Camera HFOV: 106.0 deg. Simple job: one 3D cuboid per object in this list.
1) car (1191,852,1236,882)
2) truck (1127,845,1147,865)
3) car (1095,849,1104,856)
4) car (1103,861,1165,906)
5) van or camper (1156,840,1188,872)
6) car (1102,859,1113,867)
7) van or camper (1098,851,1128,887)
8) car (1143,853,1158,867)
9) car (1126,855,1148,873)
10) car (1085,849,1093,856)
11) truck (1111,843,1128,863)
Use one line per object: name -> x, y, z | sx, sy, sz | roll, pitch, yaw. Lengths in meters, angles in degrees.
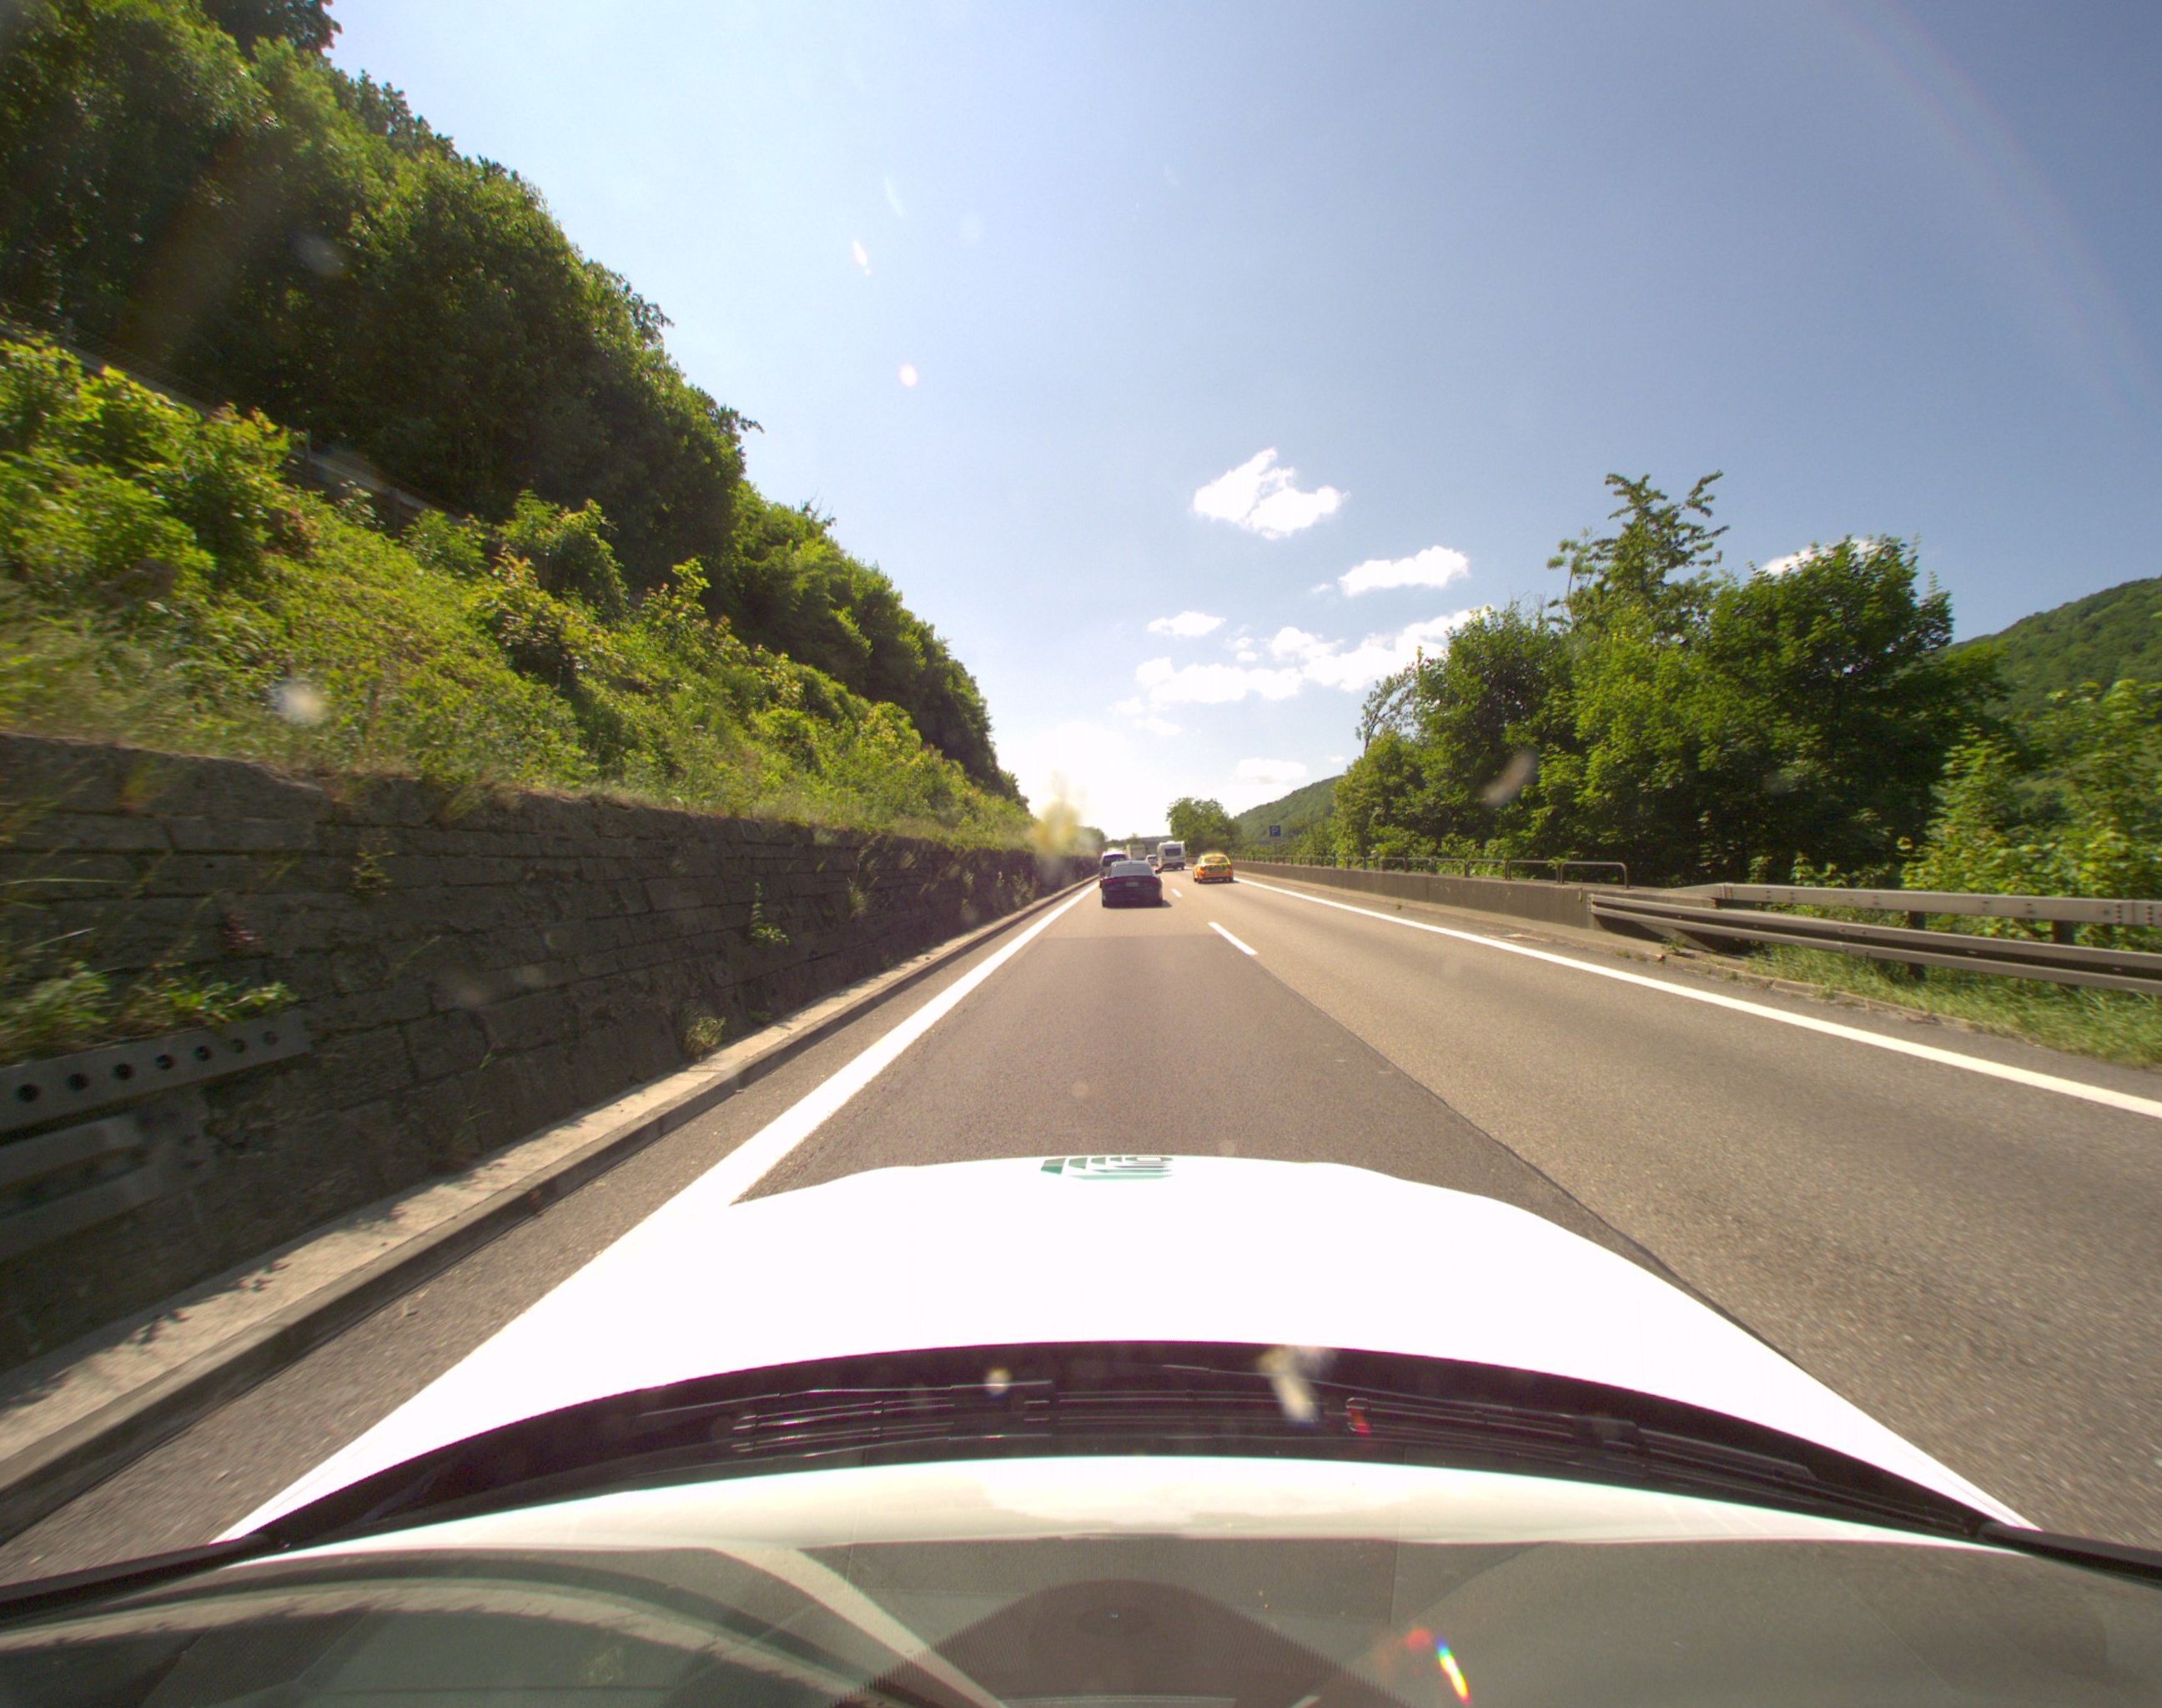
car -> 6.845, 0.676, 42.374 | 1.855, 1.488, 4.002 | 0, -1, 2
truck -> 9.439, 0.143, 137.653 | 2.831, 3.131, 7.480 | -2, 0, 1
car -> 5.147, -0.414, 221.722 | 1.991, 2.014, 3.992 | 0, 0, -5
car -> 1.653, 0.919, 26.328 | 1.831, 1.349, 4.001 | 0, -1, 2
van or camper -> 8.423, 0.227, 76.213 | 2.447, 2.918, 6.126 | 0, -1, 1
car -> 4.885, 1.583, 150.227 | 1.987, 1.464, 3.999 | 0, 0, 0
van or camper -> 1.676, 0.815, 43.295 | 1.387, 1.816, 3.998 | 0, -1, -1
car -> 9.166, 0.830, 107.640 | 1.834, 1.717, 4.002 | 0, -1, 3
car -> 5.184, 0.912, 76.130 | 1.767, 1.637, 4.000 | -2, 0, 0
car -> 2.497, -0.490, 248.465 | 1.991, 2.014, 3.992 | 0, 0, -6
truck -> 8.038, -0.206, 169.912 | 2.727, 4.096, 7.470 | -2, 0, -3
